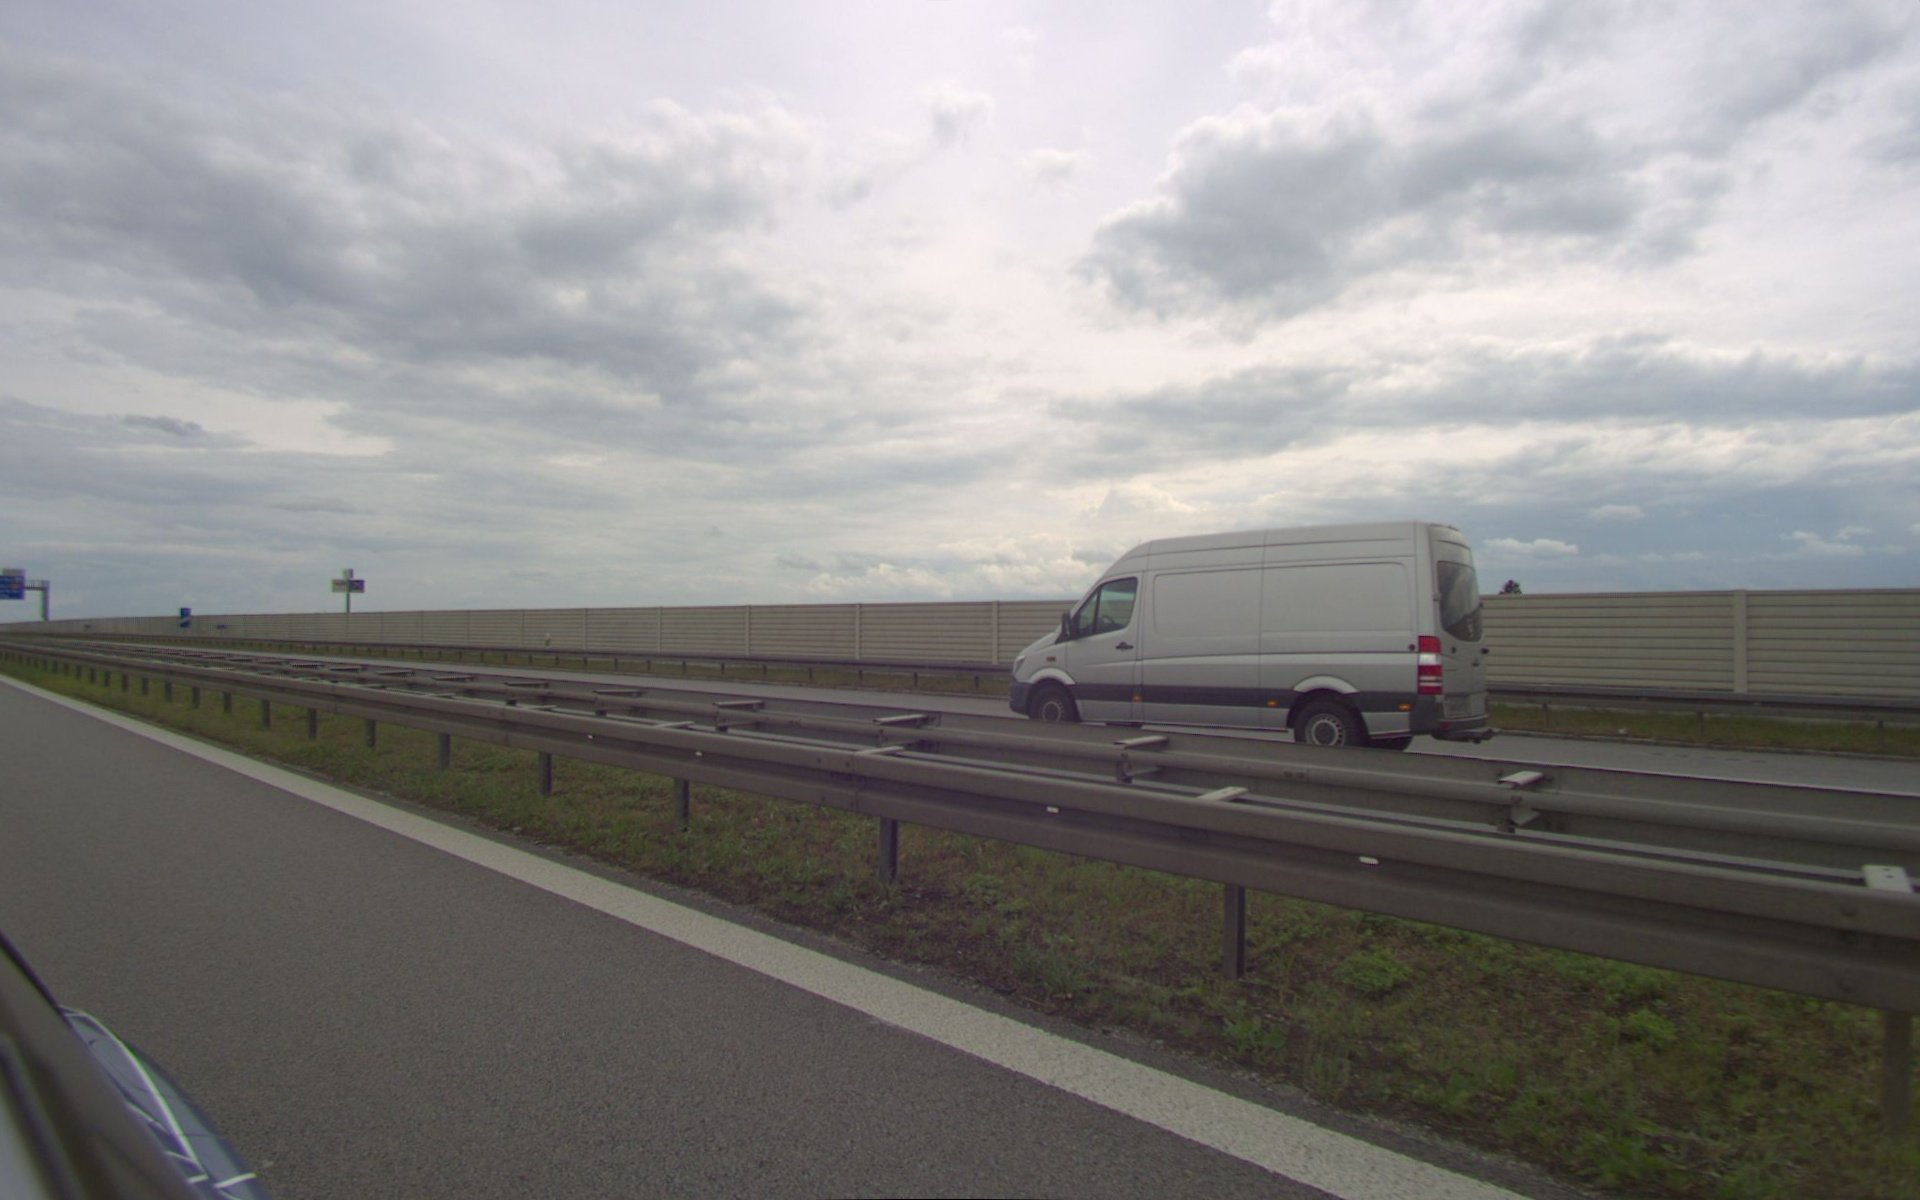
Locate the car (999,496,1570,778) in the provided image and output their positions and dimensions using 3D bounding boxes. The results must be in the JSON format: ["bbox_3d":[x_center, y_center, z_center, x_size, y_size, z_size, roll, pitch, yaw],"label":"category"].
[{"bbox_3d":[3.575,0.438,12.259,6.287,2.623,2.048,-1,-4,42],"label":"car"}]
